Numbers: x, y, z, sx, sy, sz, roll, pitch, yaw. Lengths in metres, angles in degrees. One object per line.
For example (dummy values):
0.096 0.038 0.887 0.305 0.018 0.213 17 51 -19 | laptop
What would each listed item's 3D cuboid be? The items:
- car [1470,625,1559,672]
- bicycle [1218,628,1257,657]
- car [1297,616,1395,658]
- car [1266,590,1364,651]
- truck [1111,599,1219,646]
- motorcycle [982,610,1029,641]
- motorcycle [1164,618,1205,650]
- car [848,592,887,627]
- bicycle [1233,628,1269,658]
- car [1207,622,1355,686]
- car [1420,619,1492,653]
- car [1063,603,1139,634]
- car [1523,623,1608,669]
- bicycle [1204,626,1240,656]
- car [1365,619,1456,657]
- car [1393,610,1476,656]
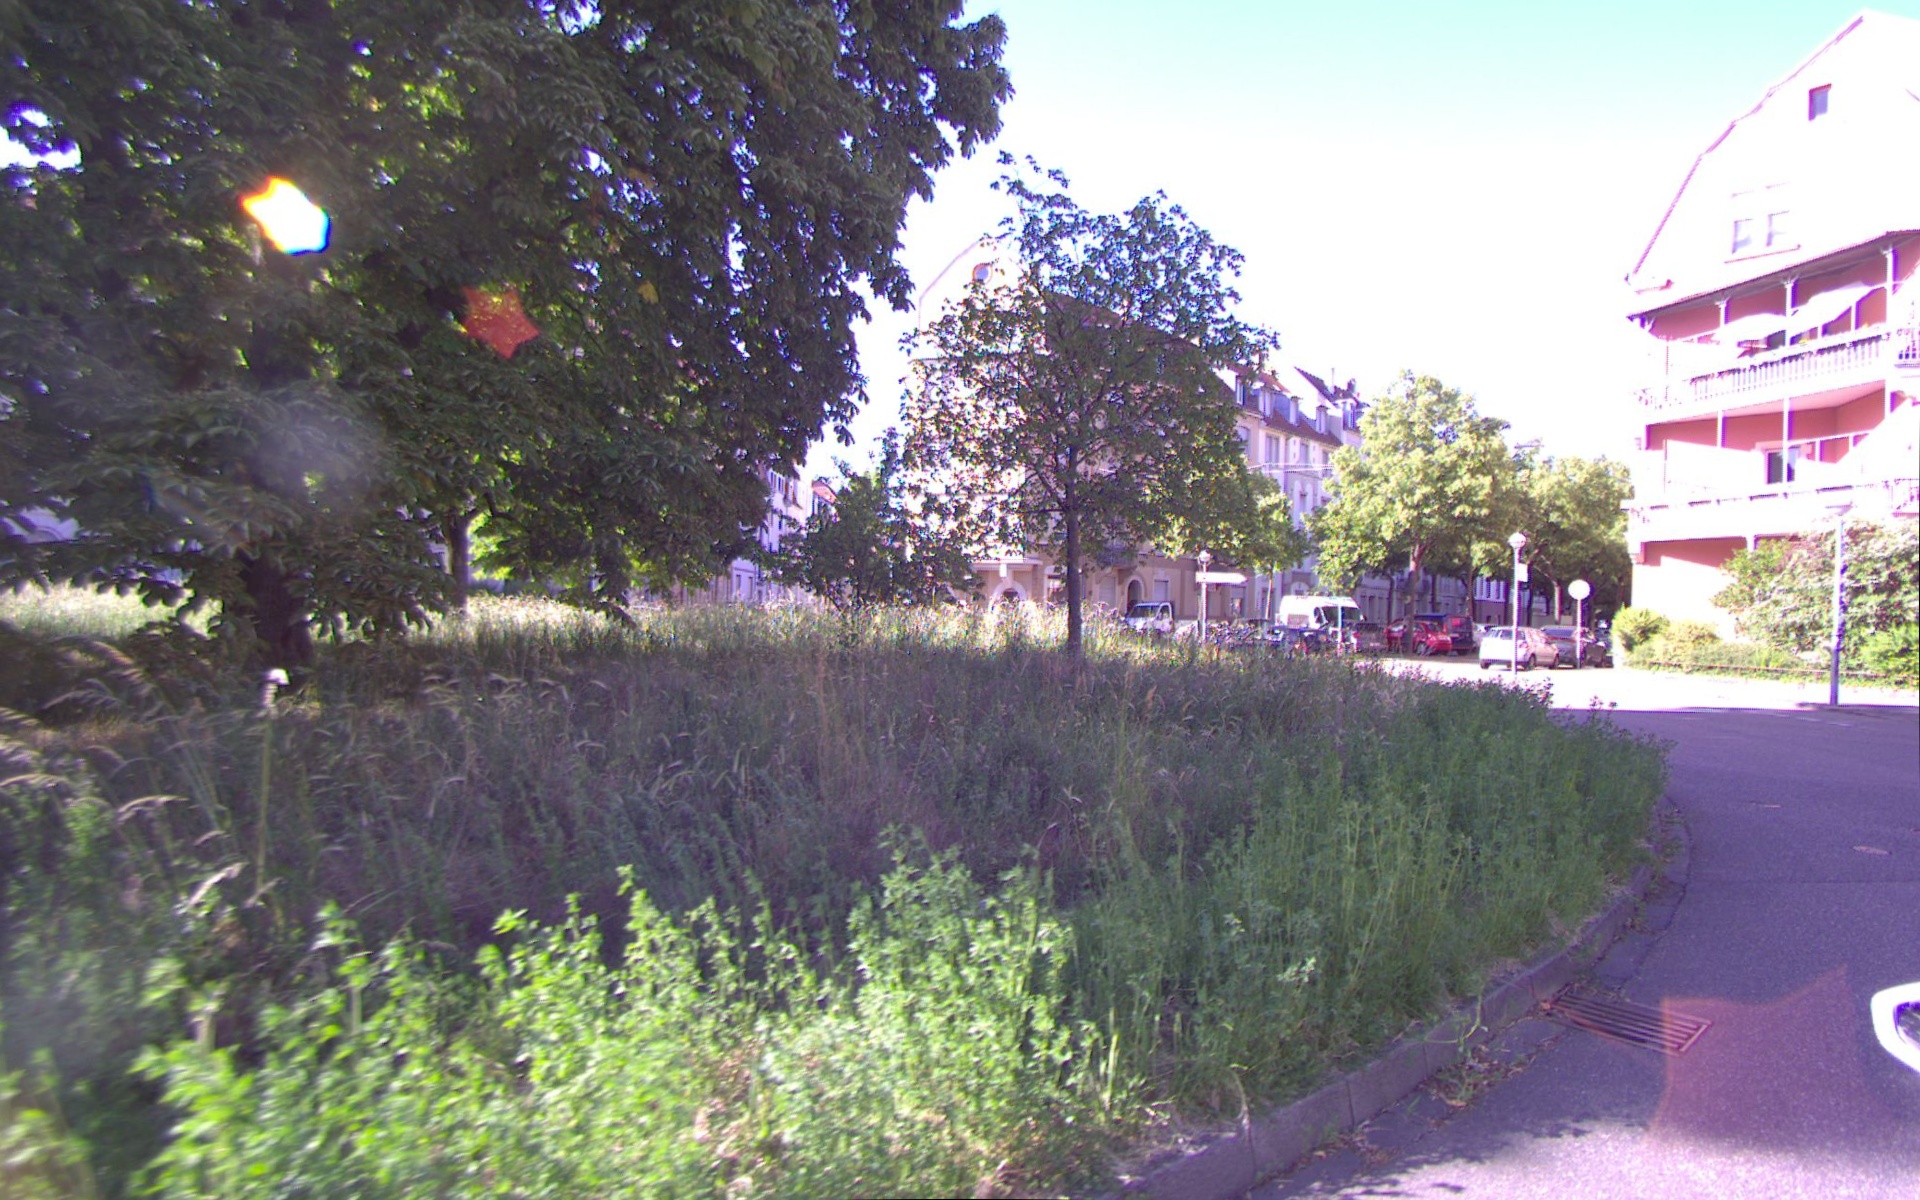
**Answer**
19.190 1.653 34.710 3.522 1.466 1.666 2 0 -44 | car
10.939 1.667 39.631 1.717 1.103 0.649 1 1 -43 | bicycle
15.875 1.504 41.509 1.662 1.466 3.906 2 0 -18 | car
16.798 0.878 47.949 2.063 2.635 6.374 2 0 -3 | car
10.737 1.193 52.155 6.574 2.322 2.112 2 -2 -43 | truck
2.290 1.263 50.313 2.205 1.430 0.700 3 1 16 | motorcycle
9.517 1.431 42.614 0.533 1.287 1.693 1 1 -38 | motorcycle
-5.360 0.579 58.913 2.100 1.934 4.559 2 -1 -4 | car
11.339 1.676 39.121 1.637 1.117 0.494 1 1 -41 | bicycle
8.852 1.436 28.027 1.843 1.438 3.979 -1 1 -22 | car
24.641 1.780 50.062 1.656 1.489 3.381 2 0 -5 | car
6.775 0.906 48.050 1.664 1.408 3.900 0 -2 43 | car
22.963 1.710 38.014 4.266 1.583 1.666 2 0 -44 | car
10.490 1.637 40.173 1.590 1.142 0.582 1 1 -43 | bicycle
19.966 1.654 44.611 1.668 1.466 3.357 2 0 -29 | car
21.778 1.499 46.211 1.660 1.890 3.374 2 0 -14 | car
